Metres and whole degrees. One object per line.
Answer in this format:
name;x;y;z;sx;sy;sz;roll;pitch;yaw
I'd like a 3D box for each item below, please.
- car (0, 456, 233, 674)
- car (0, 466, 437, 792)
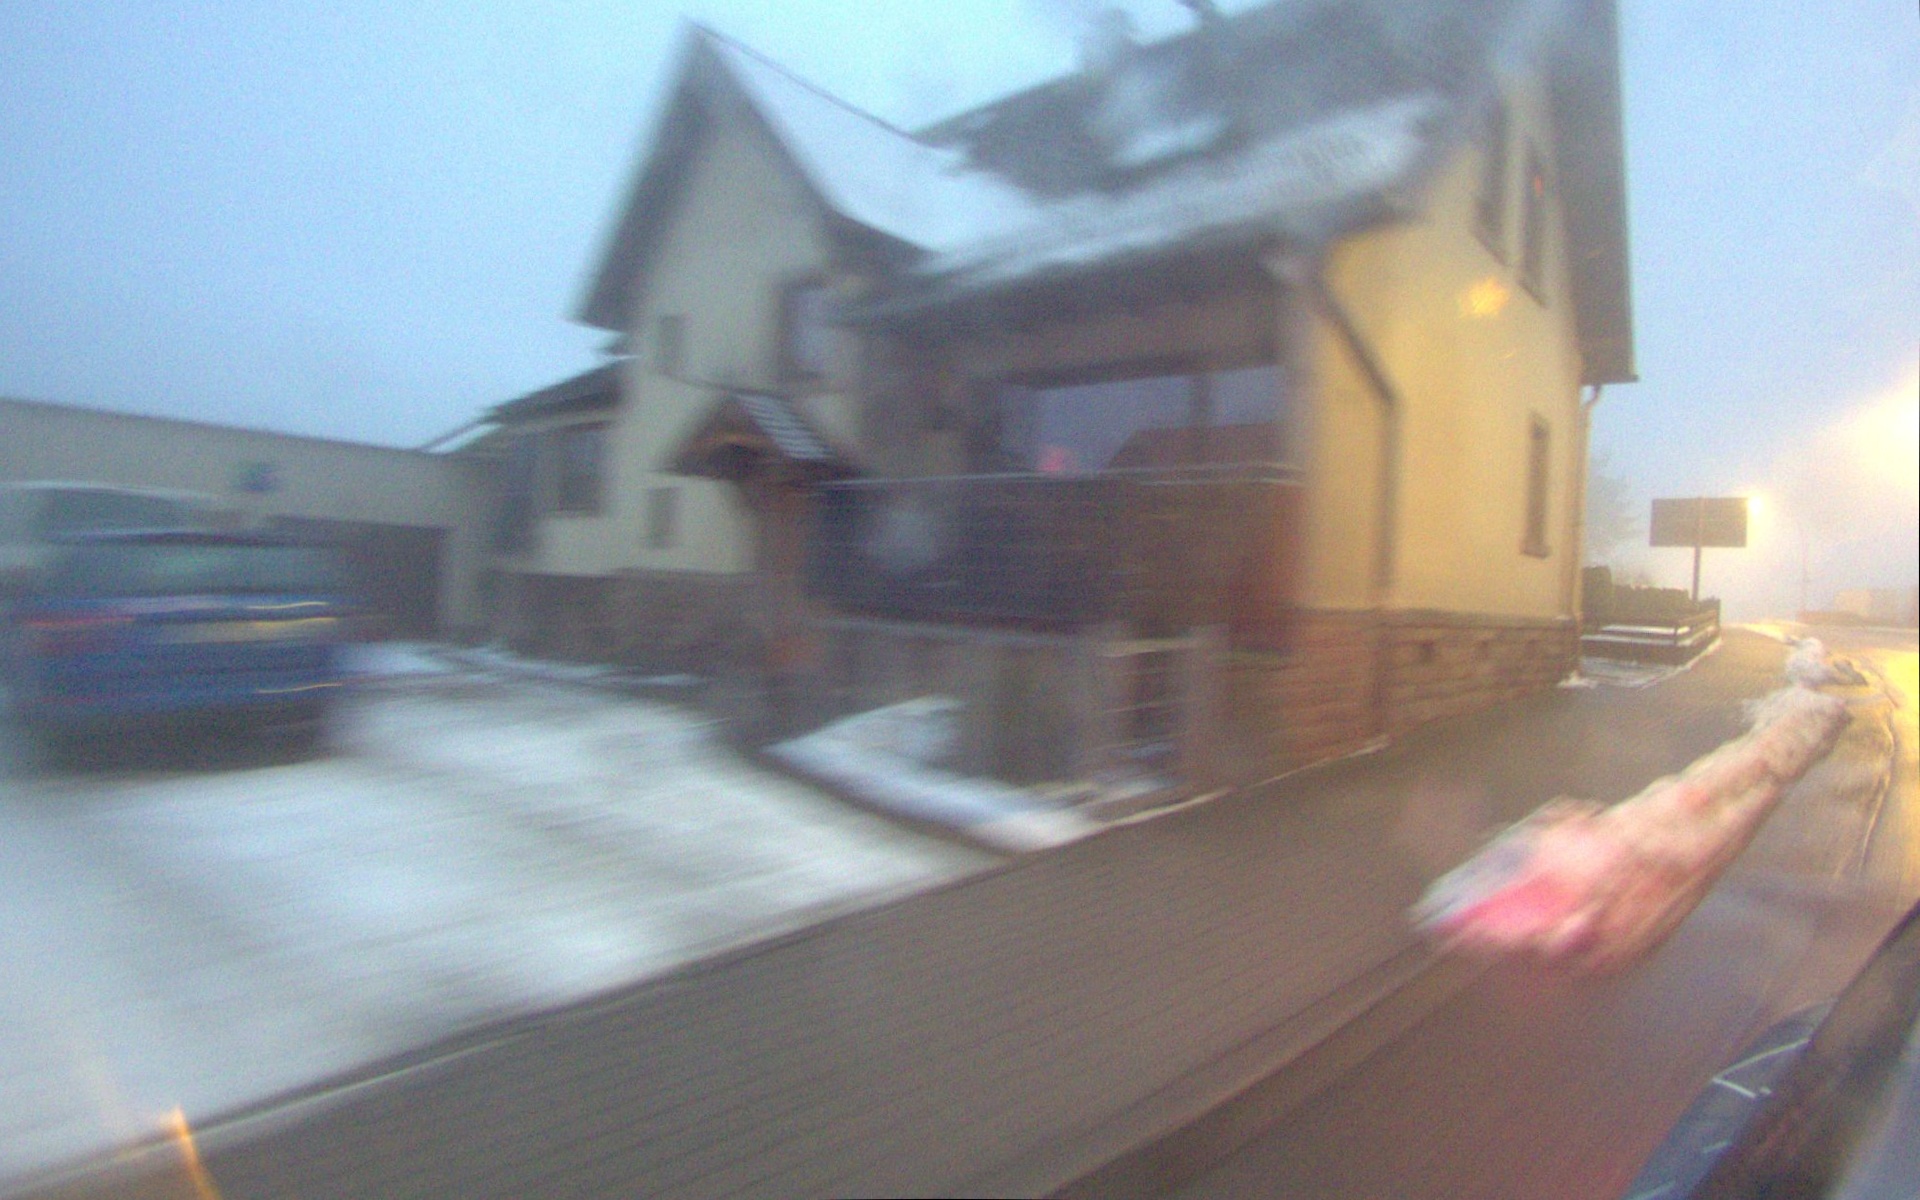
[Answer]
car;-9.695;-0.342;11.100;4.369;1.950;1.970;0;1;43
car;-5.618;0.110;7.226;4.445;1.606;1.970;0;2;43
